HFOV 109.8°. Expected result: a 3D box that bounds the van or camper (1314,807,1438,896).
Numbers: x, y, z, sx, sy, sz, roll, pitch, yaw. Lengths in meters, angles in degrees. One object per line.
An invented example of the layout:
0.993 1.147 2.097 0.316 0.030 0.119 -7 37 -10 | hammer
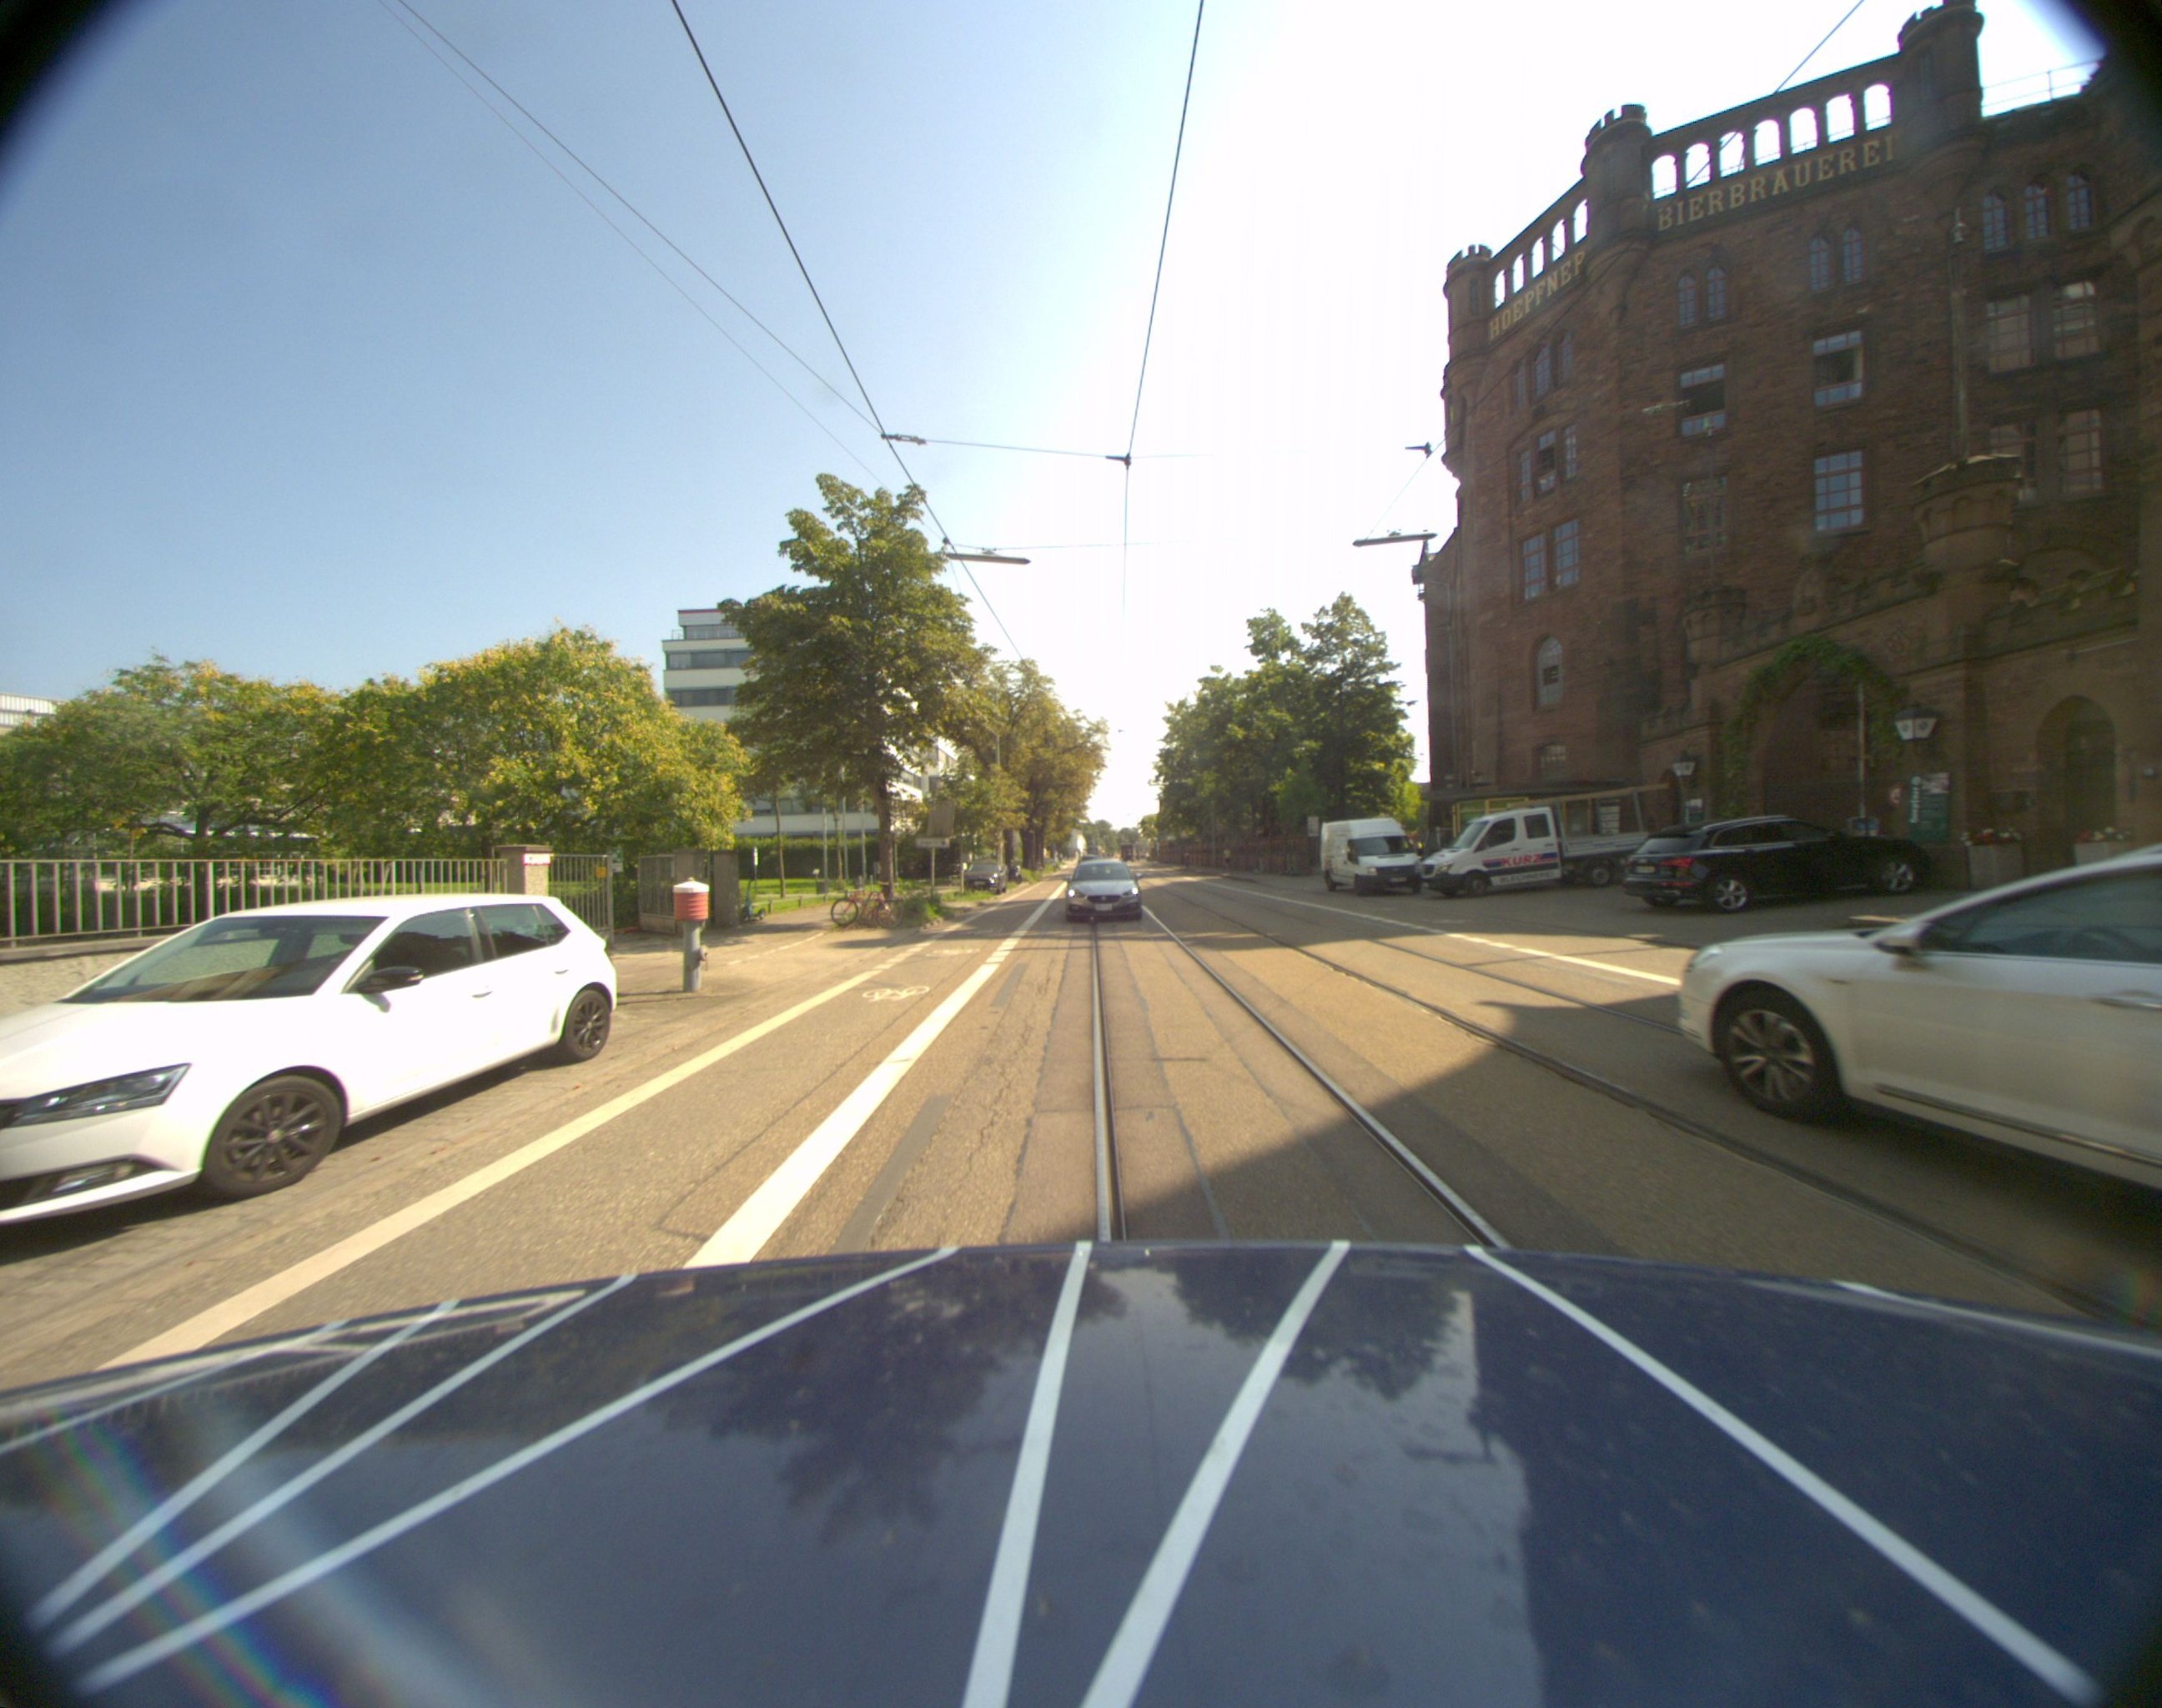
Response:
9.950 -0.085 26.257 2.118 2.660 5.955 -2 0 2 | van or camper

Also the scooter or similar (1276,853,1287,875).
11.112 0.522 42.114 0.340 1.172 1.180 -2 1 26 | scooter or similar

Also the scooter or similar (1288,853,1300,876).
11.150 0.525 39.807 0.340 1.172 1.180 -2 1 26 | scooter or similar

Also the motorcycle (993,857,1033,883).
-4.152 0.999 46.464 2.448 1.507 0.854 -2 1 39 | motorcycle

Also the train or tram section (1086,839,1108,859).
3.584 -1.075 160.797 4.111 3.711 24.380 -2 0 2 | train or tram section

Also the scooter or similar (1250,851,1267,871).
10.843 0.435 46.420 0.422 1.172 1.315 -3 0 -15 | scooter or similar

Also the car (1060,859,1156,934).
0.578 0.900 18.169 1.928 1.465 4.817 -2 0 0 | car

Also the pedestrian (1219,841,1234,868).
10.838 0.022 56.730 0.866 2.002 0.983 -2 1 -1 | pedestrian

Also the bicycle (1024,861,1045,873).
-4.099 1.161 66.941 1.775 1.043 0.540 -1 0 0 | bicycle

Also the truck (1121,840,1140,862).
11.139 -0.669 169.037 3.171 4.427 16.848 -2 0 7 | truck

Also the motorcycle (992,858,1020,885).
-4.445 1.015 44.768 0.854 1.507 2.450 -3 0 -24 | motorcycle

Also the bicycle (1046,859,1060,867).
-3.692 1.184 99.128 1.775 1.065 0.540 -1 0 0 | bicycle

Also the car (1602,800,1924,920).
12.689 0.110 14.387 4.145 1.733 2.000 -5 0 2 | car

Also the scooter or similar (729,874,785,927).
-8.526 1.202 20.062 0.557 1.252 1.818 -2 0 3 | scooter or similar

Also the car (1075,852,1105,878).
0.582 0.693 50.622 1.834 1.543 4.033 -2 0 0 | car

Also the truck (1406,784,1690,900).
12.857 -0.291 21.358 6.334 2.523 2.132 -5 -1 6 | truck

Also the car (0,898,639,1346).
-4.990 1.175 4.925 1.663 1.472 4.217 -1 0 1 | car

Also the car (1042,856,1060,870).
-3.469 1.013 87.661 1.760 1.453 4.275 -1 0 1 | car

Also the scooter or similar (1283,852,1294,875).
11.183 0.521 40.941 0.340 1.172 1.180 -2 1 26 | scooter or similar

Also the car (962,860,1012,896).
-4.344 1.065 35.800 1.760 1.506 4.609 -1 0 0 | car

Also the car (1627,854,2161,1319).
4.402 0.759 2.453 1.851 1.483 4.867 0 0 1 | car

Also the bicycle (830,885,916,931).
-4.829 1.254 17.684 1.816 0.952 0.558 -2 1 1 | bicycle

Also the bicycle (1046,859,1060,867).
-3.703 1.184 99.106 1.775 1.065 0.540 -1 0 0 | bicycle
